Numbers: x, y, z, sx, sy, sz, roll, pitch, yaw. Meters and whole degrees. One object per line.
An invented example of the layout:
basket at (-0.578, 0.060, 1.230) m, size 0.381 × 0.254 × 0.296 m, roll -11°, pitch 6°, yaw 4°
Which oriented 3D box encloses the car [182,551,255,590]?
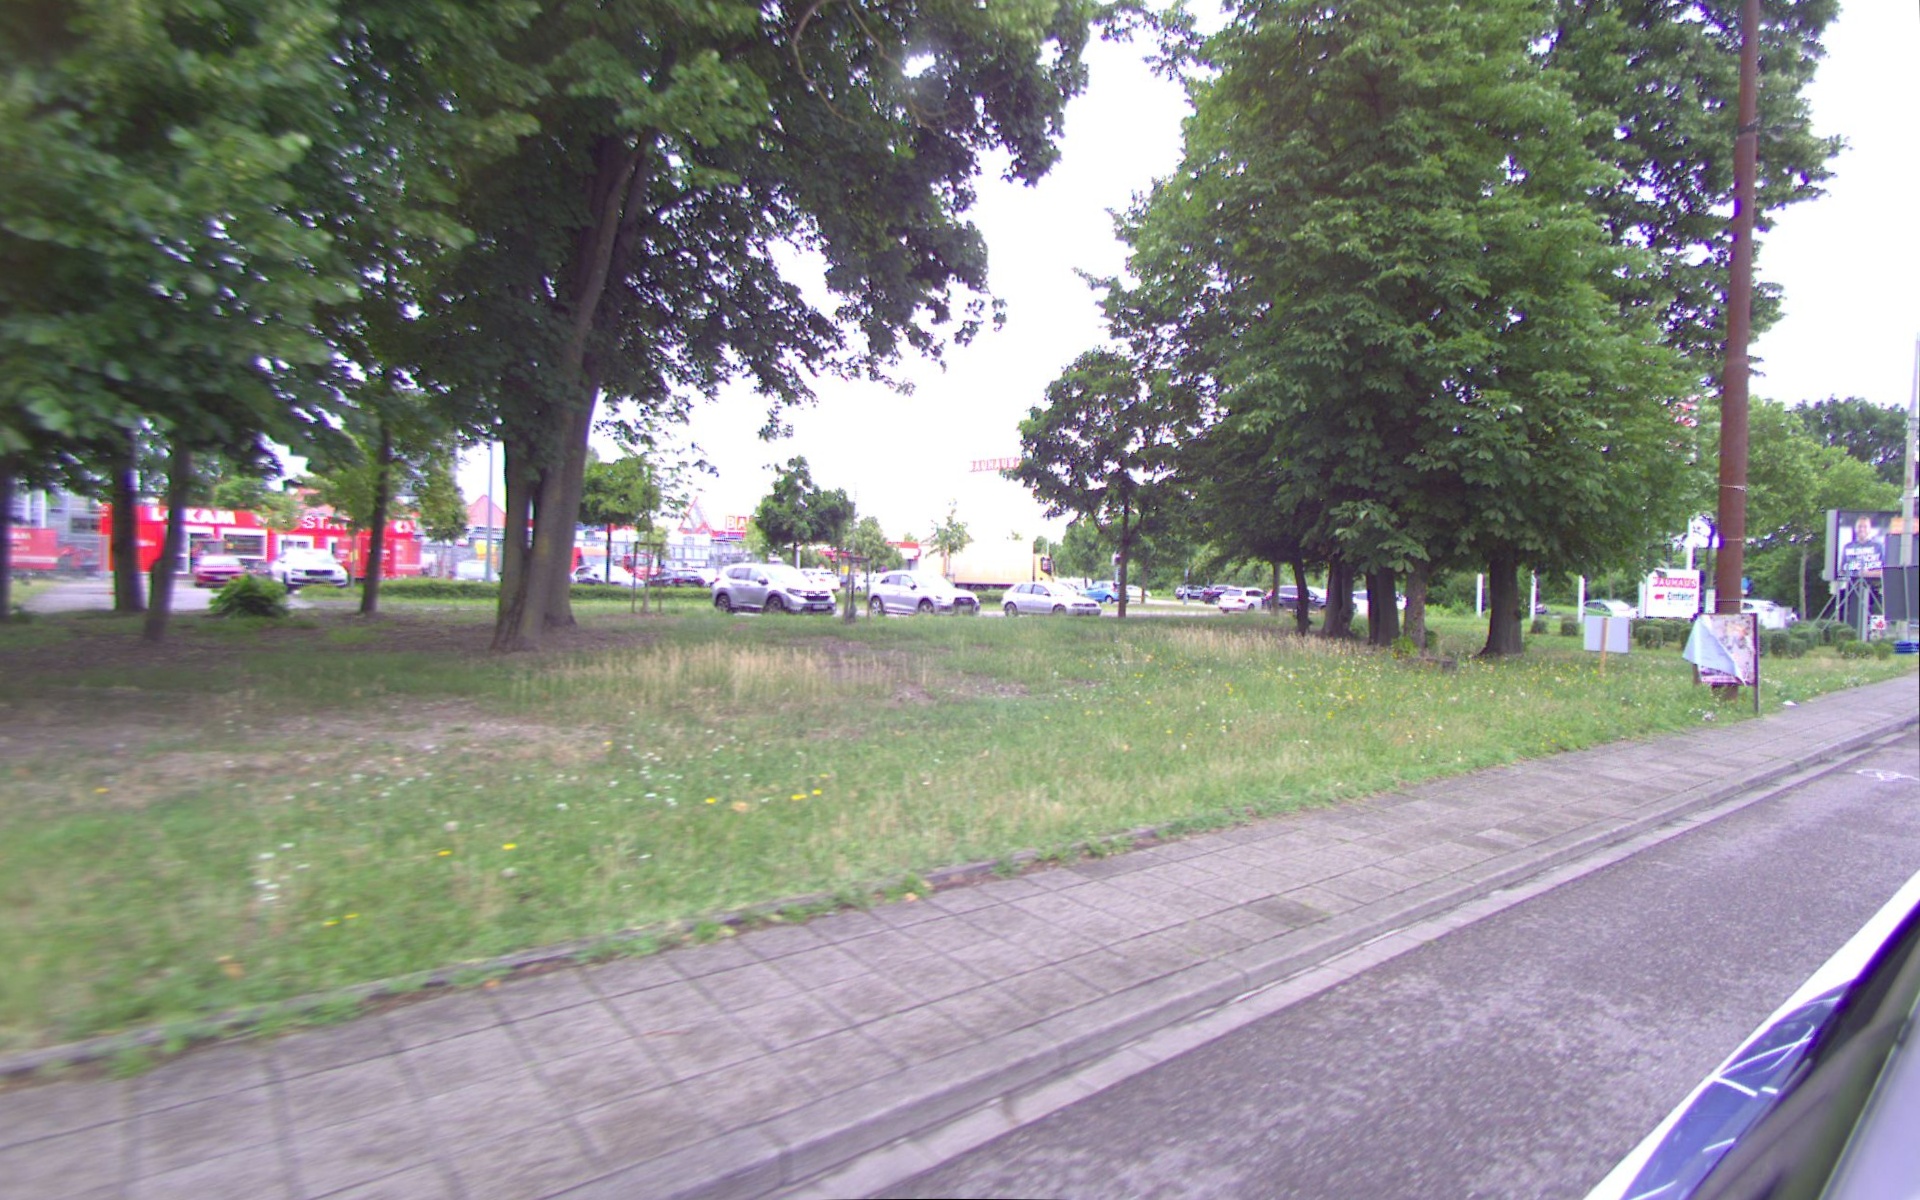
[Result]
car at (-32.873, -1.338, 44.824) m, size 2.119 × 1.575 × 4.559 m, roll 0°, pitch 2°, yaw -43°

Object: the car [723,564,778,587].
car at (-16.563, -1.947, 79.883) m, size 2.119 × 1.697 × 4.558 m, roll 0°, pitch 2°, yaw -43°

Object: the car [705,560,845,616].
car at (-5.502, -0.339, 29.650) m, size 1.927 × 1.516 × 4.536 m, roll 0°, pitch 0°, yaw -43°

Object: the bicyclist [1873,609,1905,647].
bicyclist at (37.979, 1.141, 41.379) m, size 0.570 × 1.538 × 0.761 m, roll 2°, pitch 1°, yaw -22°

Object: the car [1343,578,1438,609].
car at (22.562, -0.340, 53.170) m, size 1.898 × 1.516 × 4.227 m, roll 0°, pitch 0°, yaw -42°

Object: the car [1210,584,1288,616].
car at (16.241, -0.010, 56.862) m, size 4.422 × 1.691 × 1.999 m, roll 0°, pitch 0°, yaw -38°

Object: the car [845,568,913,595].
car at (-5.439, -1.253, 67.772) m, size 2.120 × 1.697 × 4.557 m, roll 0°, pitch 2°, yaw -45°

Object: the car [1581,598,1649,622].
car at (43.829, 0.623, 67.824) m, size 1.750 × 1.552 × 4.002 m, roll 0°, pitch 0°, yaw -3°

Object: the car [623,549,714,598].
car at (-13.421, -1.246, 46.409) m, size 2.119 × 2.076 × 4.558 m, roll 0°, pitch 2°, yaw -43°

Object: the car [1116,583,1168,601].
car at (21.153, -0.939, 117.676) m, size 5.619 × 1.917 × 2.155 m, roll 2°, pitch 1°, yaw 1°

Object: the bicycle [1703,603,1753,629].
bicycle at (35.935, 0.746, 47.359) m, size 1.780 × 1.131 × 0.486 m, roll 2°, pitch 1°, yaw 14°

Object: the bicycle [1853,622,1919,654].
bicycle at (37.944, 1.529, 41.477) m, size 0.570 × 1.163 × 1.899 m, roll 2°, pitch 1°, yaw -22°

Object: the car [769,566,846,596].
car at (-9.581, -1.224, 63.395) m, size 4.539 × 1.697 × 2.129 m, roll 3°, pitch 2°, yaw 35°

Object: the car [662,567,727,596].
car at (-16.923, -1.179, 64.391) m, size 2.119 × 1.697 × 4.558 m, roll 0°, pitch 2°, yaw -43°

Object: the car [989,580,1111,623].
car at (3.292, 0.028, 37.669) m, size 1.899 × 1.516 × 4.448 m, roll 0°, pitch 0°, yaw -43°

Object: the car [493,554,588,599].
car at (-17.384, -1.008, 41.848) m, size 2.119 × 1.697 × 4.558 m, roll 0°, pitch 2°, yaw -43°

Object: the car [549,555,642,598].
car at (-15.737, -1.023, 43.594) m, size 2.119 × 1.697 × 4.558 m, roll 0°, pitch 2°, yaw -43°

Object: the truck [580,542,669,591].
truck at (-21.267, -2.166, 63.863) m, size 2.442 × 2.850 × 7.873 m, roll 1°, pitch 2°, yaw -41°

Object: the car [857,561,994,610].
car at (-1.226, -0.451, 33.596) m, size 2.132 × 1.516 × 4.684 m, roll 0°, pitch 0°, yaw -40°

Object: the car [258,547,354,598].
car at (-23.672, -1.027, 36.557) m, size 2.119 × 1.697 × 4.558 m, roll 0°, pitch 2°, yaw -43°

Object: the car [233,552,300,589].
car at (-34.841, -1.499, 50.804) m, size 2.119 × 1.697 × 4.559 m, roll 0°, pitch 2°, yaw -43°

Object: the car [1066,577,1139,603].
car at (9.125, -0.646, 65.075) m, size 1.951 × 1.525 × 4.566 m, roll 1°, pitch 2°, yaw -38°

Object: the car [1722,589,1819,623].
car at (47.786, 0.309, 59.778) m, size 1.842 × 1.851 × 4.427 m, roll 0°, pitch 2°, yaw -6°

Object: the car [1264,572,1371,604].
car at (17.517, -0.581, 49.728) m, size 1.899 × 1.516 × 4.603 m, roll 0°, pitch 0°, yaw -43°

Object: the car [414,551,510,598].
car at (-19.673, -1.017, 39.876) m, size 2.119 × 1.697 × 4.558 m, roll 0°, pitch 2°, yaw -43°

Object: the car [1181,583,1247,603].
car at (24.232, -0.656, 96.703) m, size 5.609 × 1.697 × 2.159 m, roll 2°, pitch 1°, yaw -8°

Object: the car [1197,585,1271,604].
car at (23.287, -0.467, 86.051) m, size 5.609 × 1.458 × 2.159 m, roll 2°, pitch 2°, yaw -8°

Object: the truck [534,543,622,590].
truck at (-23.596, -2.088, 62.256) m, size 2.442 × 2.667 × 7.873 m, roll 1°, pitch 2°, yaw -41°

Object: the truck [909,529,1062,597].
truck at (1.583, -2.007, 58.046) m, size 9.084 × 3.609 × 2.945 m, roll 0°, pitch 0°, yaw -40°
